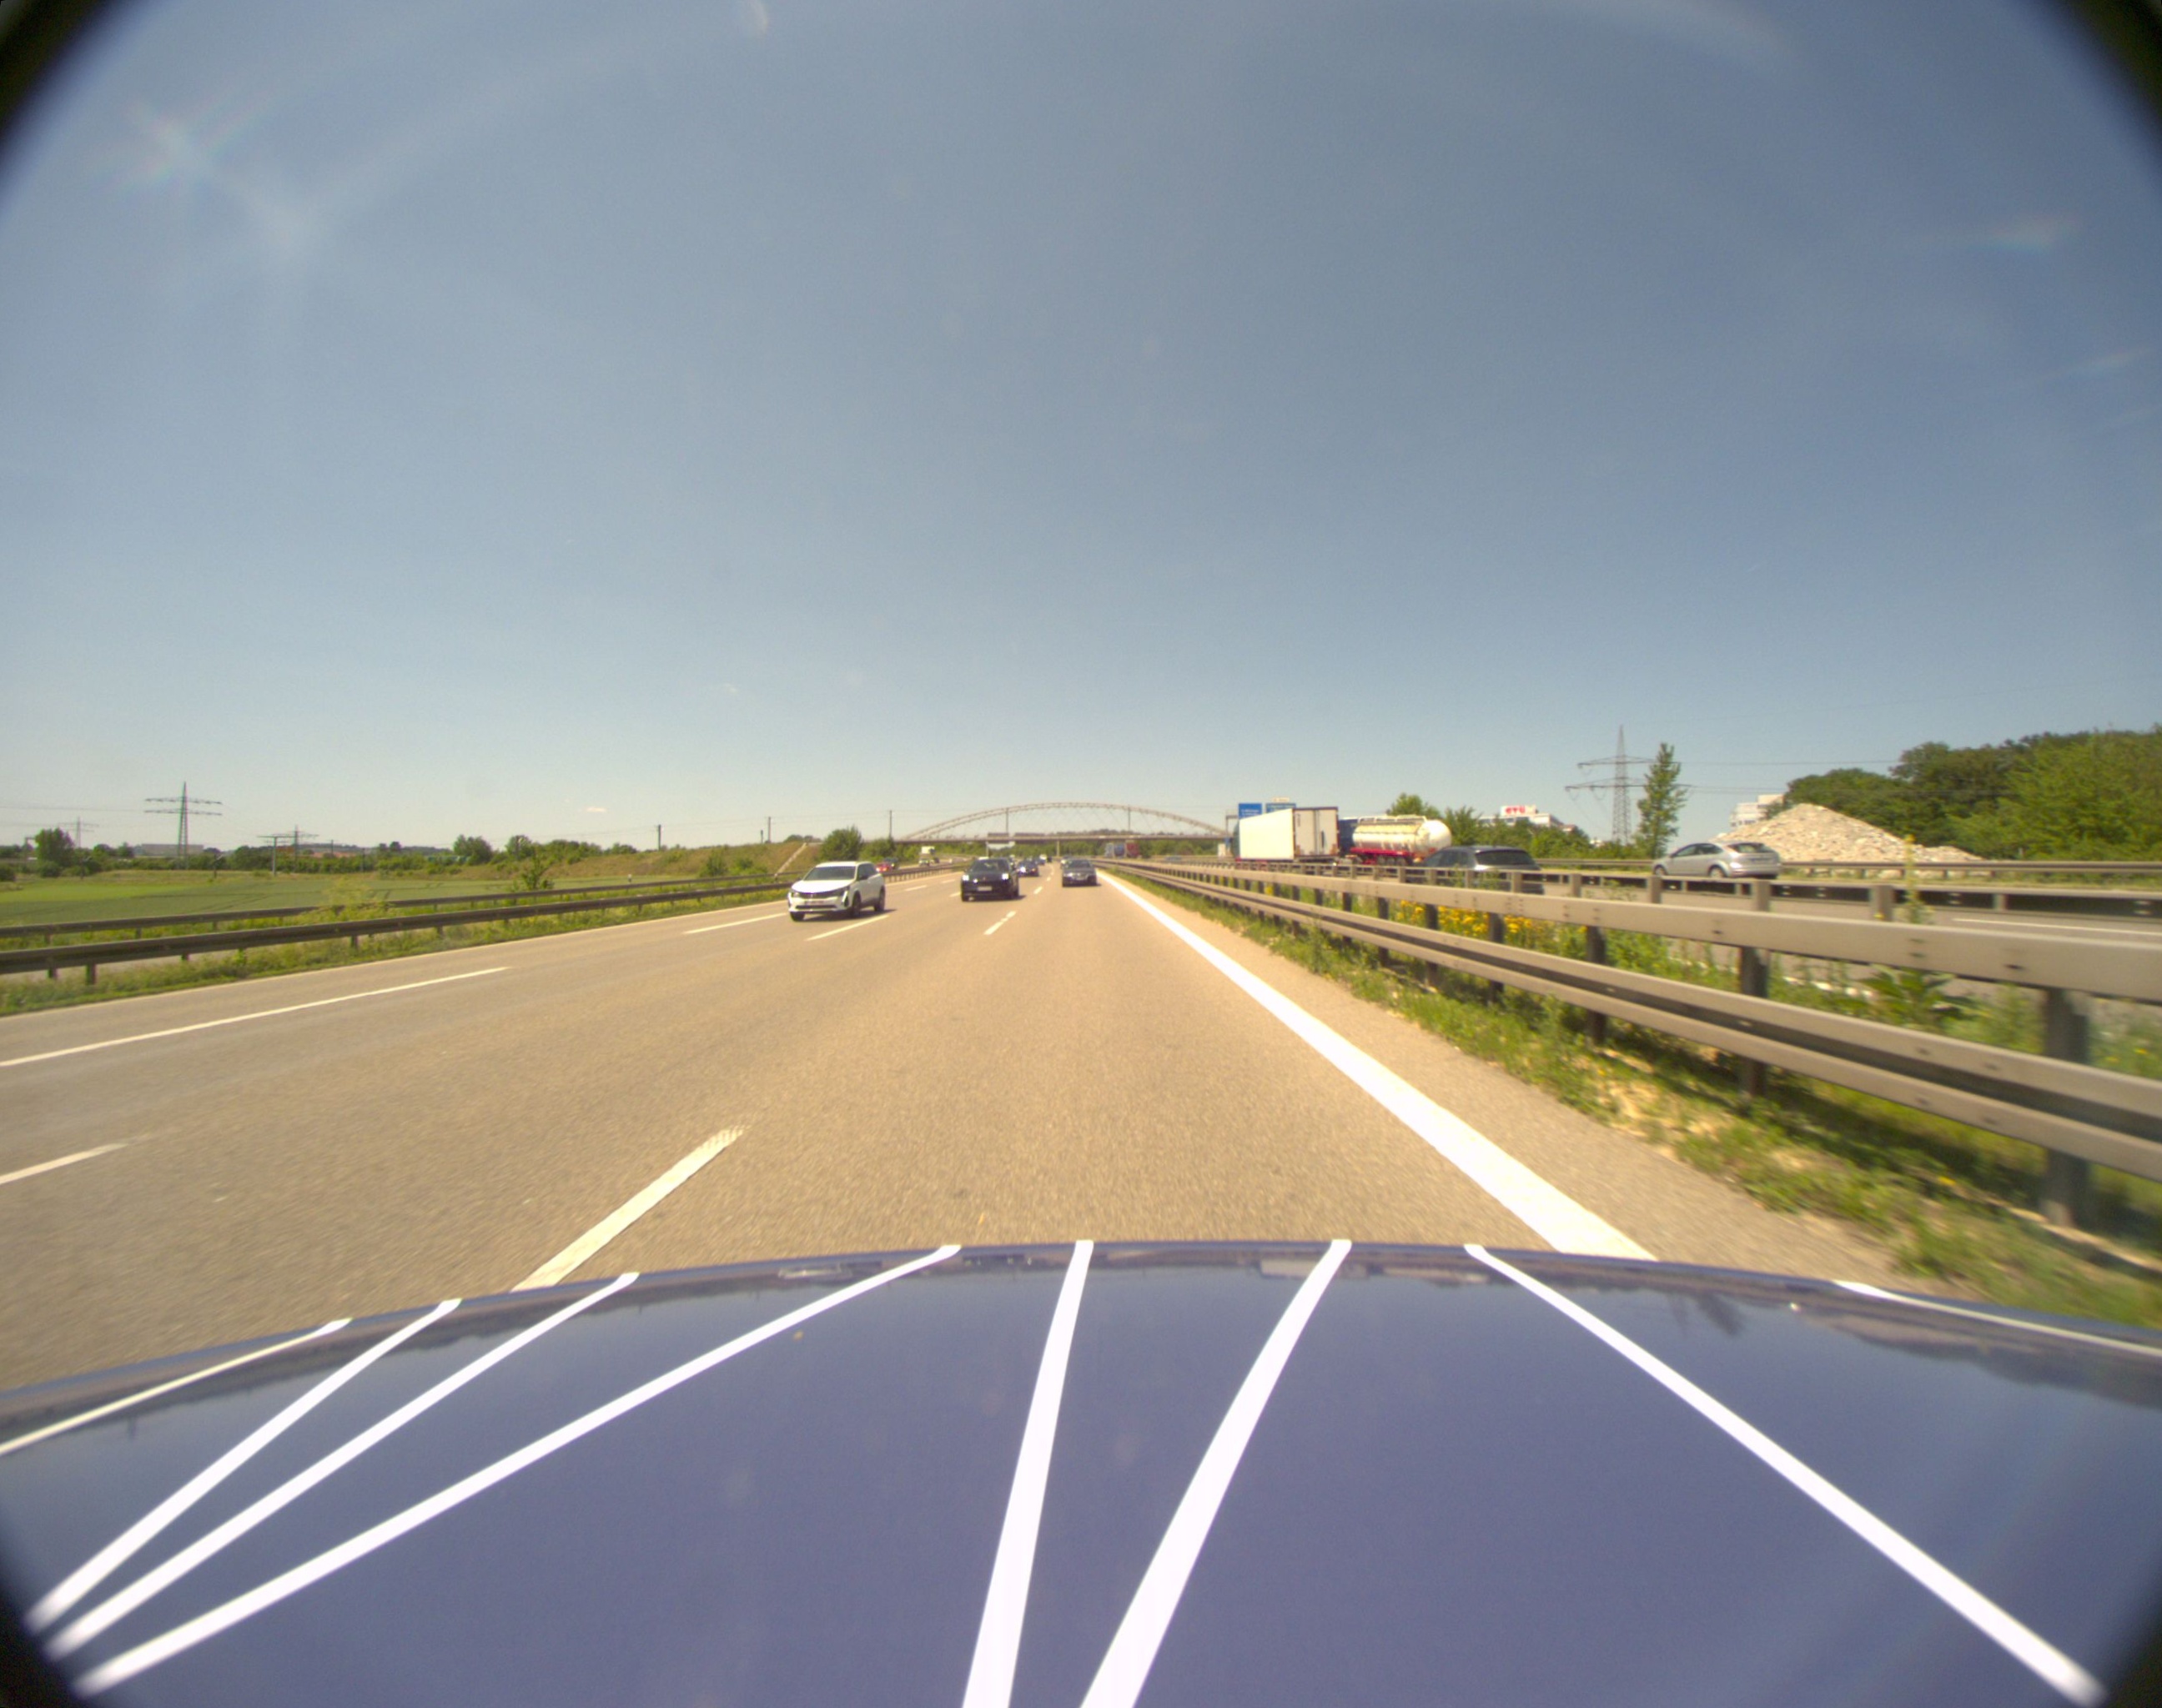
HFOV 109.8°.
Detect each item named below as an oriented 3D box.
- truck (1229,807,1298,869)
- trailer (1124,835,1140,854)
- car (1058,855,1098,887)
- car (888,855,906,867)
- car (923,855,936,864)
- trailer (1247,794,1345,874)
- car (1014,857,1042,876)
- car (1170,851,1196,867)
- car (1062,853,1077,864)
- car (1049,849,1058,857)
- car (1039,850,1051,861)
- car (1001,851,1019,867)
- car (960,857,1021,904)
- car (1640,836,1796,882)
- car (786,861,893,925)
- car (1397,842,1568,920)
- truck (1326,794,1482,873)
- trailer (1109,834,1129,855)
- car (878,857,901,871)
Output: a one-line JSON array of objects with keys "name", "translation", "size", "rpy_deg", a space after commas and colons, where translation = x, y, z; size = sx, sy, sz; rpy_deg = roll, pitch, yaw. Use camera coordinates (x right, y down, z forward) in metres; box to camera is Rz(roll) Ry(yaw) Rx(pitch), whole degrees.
[{"name": "truck", "translation": [13.156, -1.135, 55.449], "size": [2.974, 4.096, 7.596], "rpy_deg": [-2, 1, -1]}, {"name": "trailer", "translation": [11.711, -2.181, 175.863], "size": [2.566, 4.081, 8.711], "rpy_deg": [-2, 1, -3]}, {"name": "car", "translation": [-0.164, 0.834, 40.360], "size": [1.931, 1.499, 4.390], "rpy_deg": [-2, 1, -1]}, {"name": "car", "translation": [-26.801, 1.050, 110.920], "size": [1.704, 1.566, 4.126], "rpy_deg": [-2, 1, -3]}, {"name": "car", "translation": [-30.425, 1.057, 152.735], "size": [1.704, 1.566, 4.127], "rpy_deg": [-2, 1, -1]}, {"name": "trailer", "translation": [13.220, -1.179, 47.912], "size": [2.963, 4.346, 10.730], "rpy_deg": [-2, 1, -1]}, {"name": "car", "translation": [-4.300, 1.036, 62.392], "size": [1.931, 1.390, 4.117], "rpy_deg": [-2, 1, 0]}, {"name": "car", "translation": [9.757, 0.481, 72.687], "size": [1.809, 1.382, 4.290], "rpy_deg": [-2, 0, -1]}, {"name": "car", "translation": [-1.548, 0.572, 100.828], "size": [1.931, 1.390, 4.116], "rpy_deg": [-2, 1, -1]}, {"name": "car", "translation": [-6.832, -0.340, 188.029], "size": [1.999, 1.849, 3.999], "rpy_deg": [-2, 1, -1]}, {"name": "car", "translation": [-6.380, 0.288, 134.222], "size": [1.925, 1.761, 3.998], "rpy_deg": [-2, 1, -3]}, {"name": "car", "translation": [-8.635, 0.570, 93.083], "size": [1.808, 1.908, 4.294], "rpy_deg": [-2, 1, -1]}, {"name": "car", "translation": [-3.442, 0.964, 29.646], "size": [1.932, 1.586, 4.131], "rpy_deg": [-2, 1, -1]}, {"name": "car", "translation": [22.280, 0.157, 26.843], "size": [1.755, 1.437, 4.440], "rpy_deg": [-2, 0, 0]}, {"name": "car", "translation": [-7.152, 1.084, 23.011], "size": [1.748, 1.582, 4.619], "rpy_deg": [-2, 1, 0]}, {"name": "car", "translation": [9.529, 0.570, 18.503], "size": [1.852, 1.588, 4.409], "rpy_deg": [-2, 0, 1]}, {"name": "truck", "translation": [17.868, -1.013, 43.586], "size": [3.227, 3.764, 12.899], "rpy_deg": [-2, 0, -1]}, {"name": "trailer", "translation": [8.278, -2.003, 166.870], "size": [2.953, 4.317, 14.615], "rpy_deg": [-2, 1, -2]}, {"name": "car", "translation": [-22.405, 1.139, 89.110], "size": [1.704, 1.566, 4.126], "rpy_deg": [-2, 1, -3]}]
